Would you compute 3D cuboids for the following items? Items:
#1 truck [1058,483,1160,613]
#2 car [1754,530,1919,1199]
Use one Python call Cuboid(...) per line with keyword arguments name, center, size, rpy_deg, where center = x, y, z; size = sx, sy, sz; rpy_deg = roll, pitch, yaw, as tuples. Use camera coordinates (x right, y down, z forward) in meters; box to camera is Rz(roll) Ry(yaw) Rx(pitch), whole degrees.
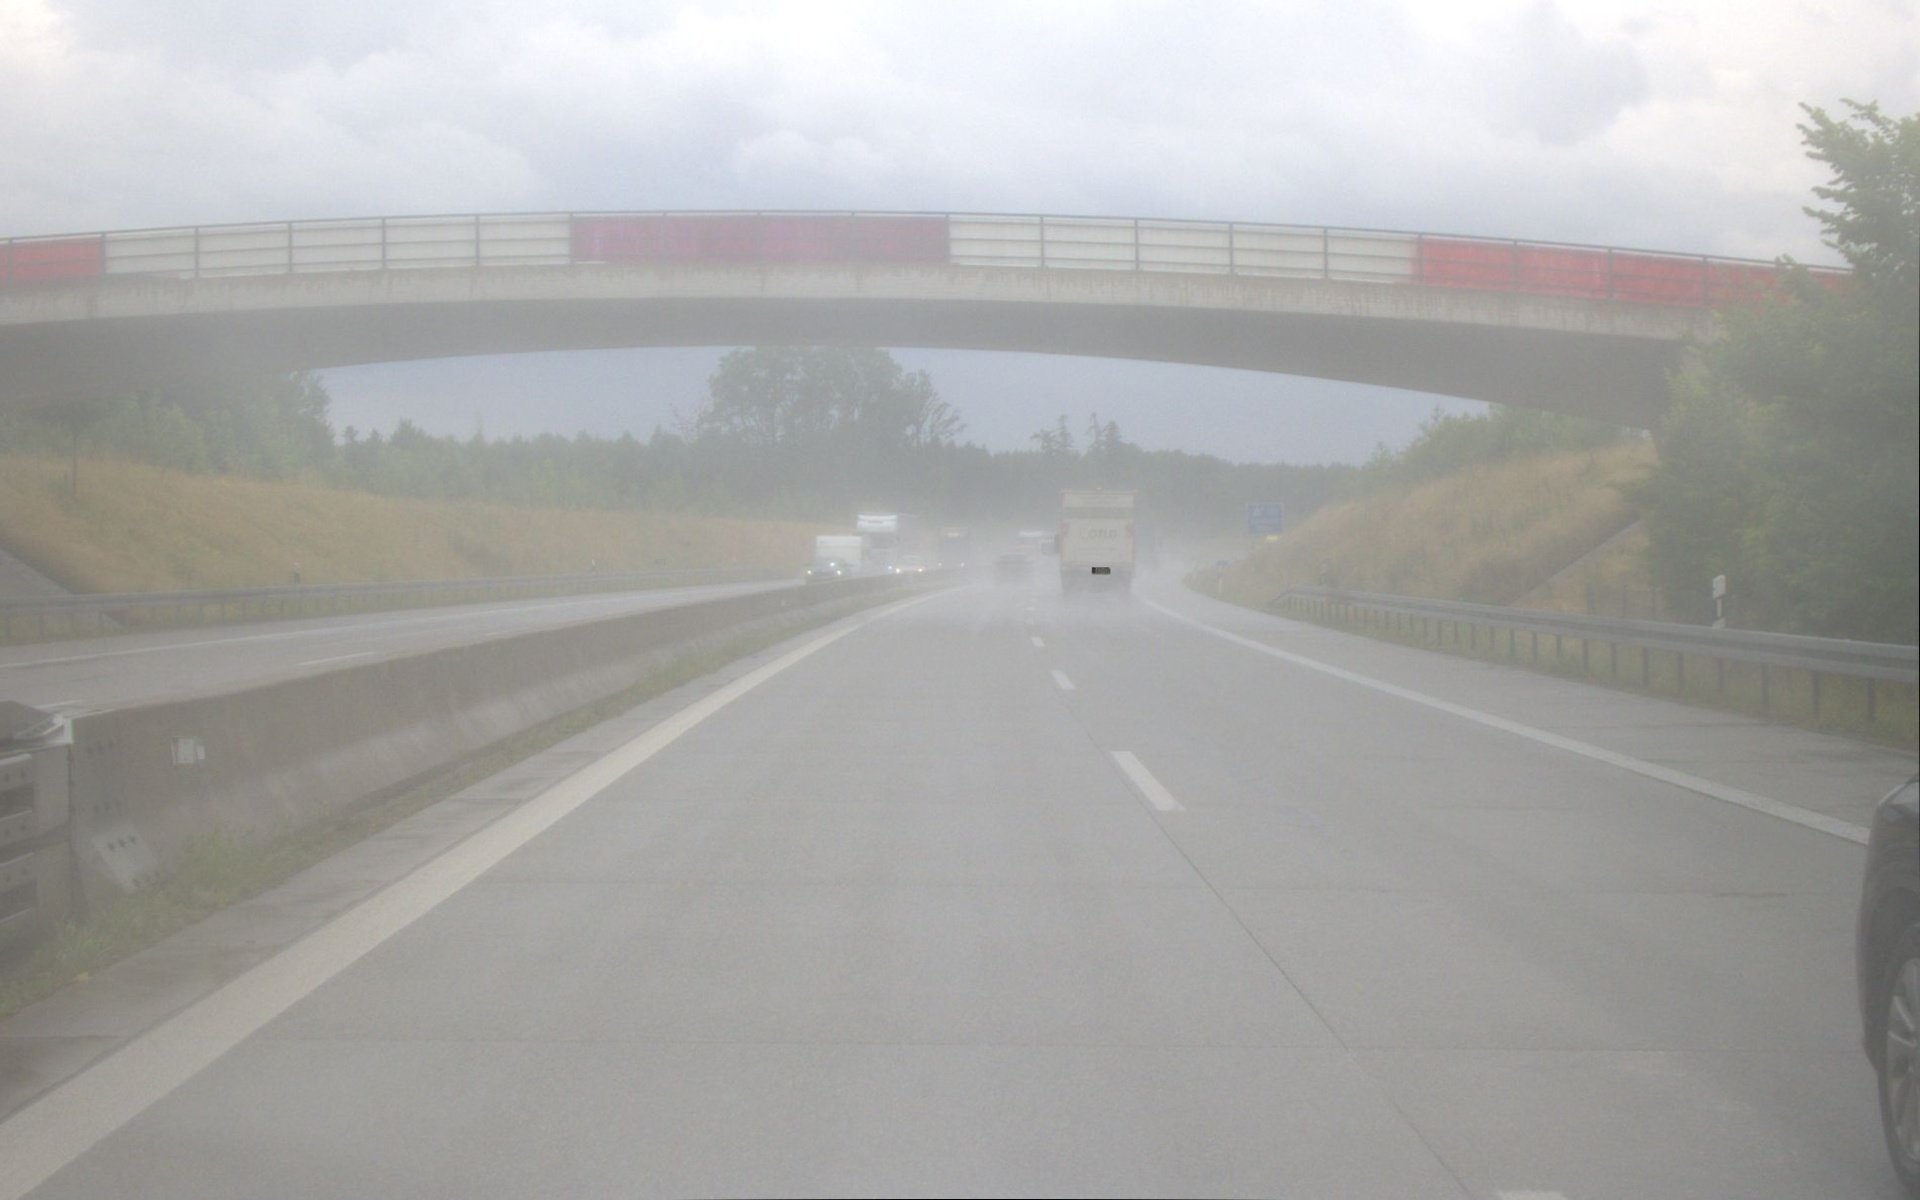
Cuboid(name="truck", center=(5.308, -1.888, 121.207), size=(3.244, 4.422, 8.245), rpy_deg=(0, 1, 5))
Cuboid(name="car", center=(3.069, 0.650, 7.316), size=(1.894, 1.570, 3.632), rpy_deg=(1, 1, 0))
